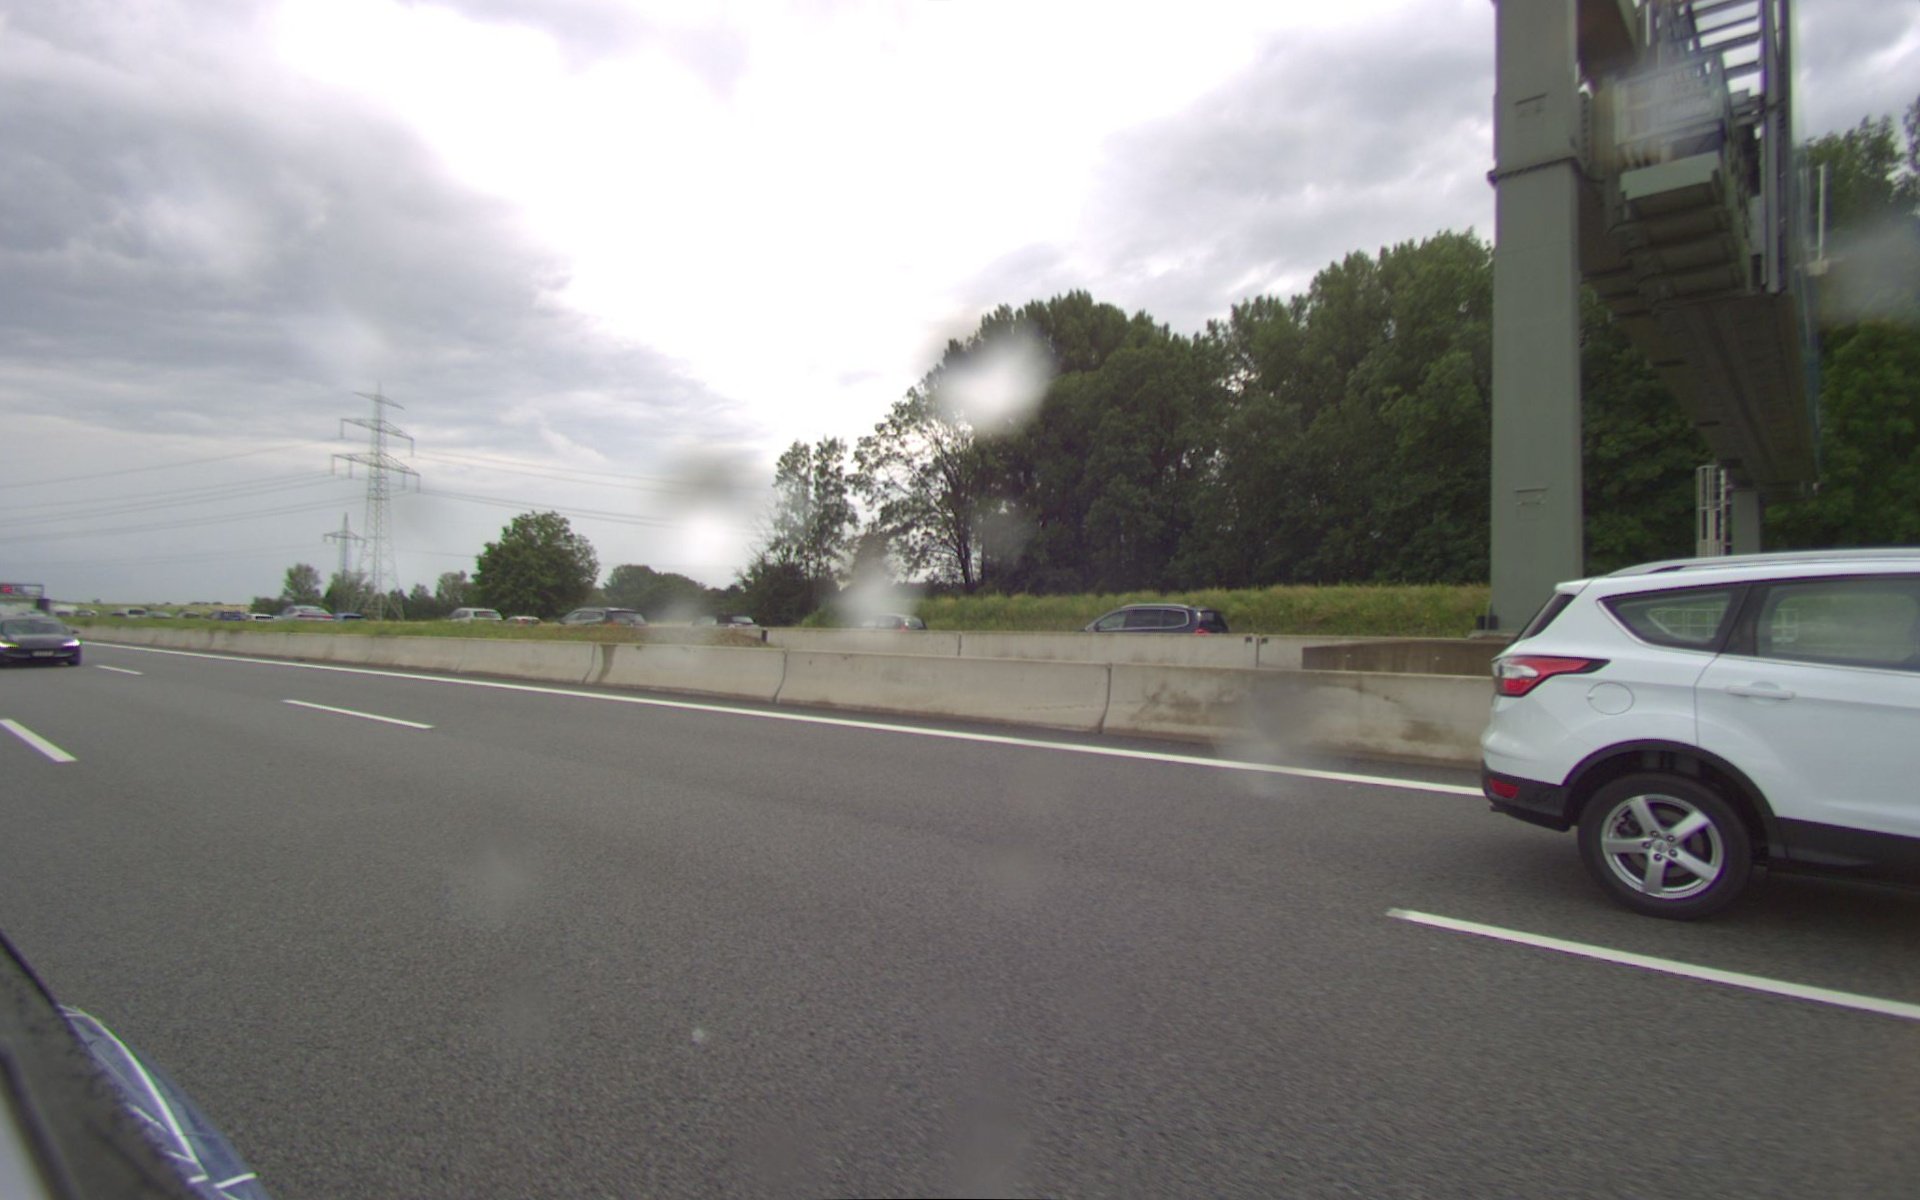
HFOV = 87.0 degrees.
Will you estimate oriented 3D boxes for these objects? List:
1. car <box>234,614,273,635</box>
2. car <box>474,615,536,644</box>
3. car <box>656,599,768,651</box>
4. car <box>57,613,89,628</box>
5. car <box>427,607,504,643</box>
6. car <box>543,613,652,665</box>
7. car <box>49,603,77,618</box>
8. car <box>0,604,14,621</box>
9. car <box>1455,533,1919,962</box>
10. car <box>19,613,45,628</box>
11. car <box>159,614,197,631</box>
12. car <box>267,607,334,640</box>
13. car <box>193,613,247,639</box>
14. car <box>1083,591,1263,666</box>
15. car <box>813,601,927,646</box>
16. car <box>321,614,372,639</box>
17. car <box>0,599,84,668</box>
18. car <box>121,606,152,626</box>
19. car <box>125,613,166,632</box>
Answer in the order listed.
[{"bbox_3d":[-51.001,1.758,73.025,3.593,1.422,1.448,-1,-1,41],"label":"car"},{"bbox_3d":[-28.325,1.793,62.963,4.348,1.710,1.763,-1,-1,39],"label":"car"},{"bbox_3d":[-8.920,0.867,36.235,4.016,1.740,1.973,-1,-1,41],"label":"car"},{"bbox_3d":[-85.601,1.997,97.695,3.997,1.422,1.801,-1,-1,41],"label":"car"},{"bbox_3d":[-24.427,1.208,49.920,4.348,1.710,1.763,-1,-1,39],"label":"car"},{"bbox_3d":[-12.299,1.275,34.239,3.998,1.627,1.778,-1,-1,41],"label":"car"},{"bbox_3d":[-116.859,1.394,131.831,4.950,1.985,2.051,-1,-1,41],"label":"car"},{"bbox_3d":[-129.567,1.696,136.914,3.997,2.140,1.801,-1,-1,41],"label":"car"},{"bbox_3d":[4.935,0.581,4.225,4.850,1.702,1.796,-1,-1,42],"label":"car"},{"bbox_3d":[-110.901,2.461,120.961,3.997,1.744,1.801,-1,-1,41],"label":"car"},{"bbox_3d":[-67.230,1.910,87.011,3.997,1.422,1.801,-1,-1,41],"label":"car"},{"bbox_3d":[-35.549,1.245,54.519,4.497,1.710,1.763,-1,-1,39],"label":"car"},{"bbox_3d":[-47.860,1.637,65.450,4.348,1.625,1.763,-1,-1,39],"label":"car"},{"bbox_3d":[5.327,0.673,25.591,4.016,1.740,1.973,-1,-1,41],"label":"car"},{"bbox_3d":[-3.224,0.795,35.875,4.016,1.509,1.735,-1,-1,41],"label":"car"},{"bbox_3d":[-37.329,1.590,61.528,3.754,1.422,1.618,-1,-1,41],"label":"car"},{"bbox_3d":[-26.893,0.931,29.255,5.164,1.834,1.971,-1,-1,44],"label":"car"},{"bbox_3d":[-83.788,1.606,102.937,3.997,1.922,1.801,-1,-1,41],"label":"car"},{"bbox_3d":[-62.160,1.698,77.216,3.997,1.422,1.801,-1,-1,41],"label":"car"}]
